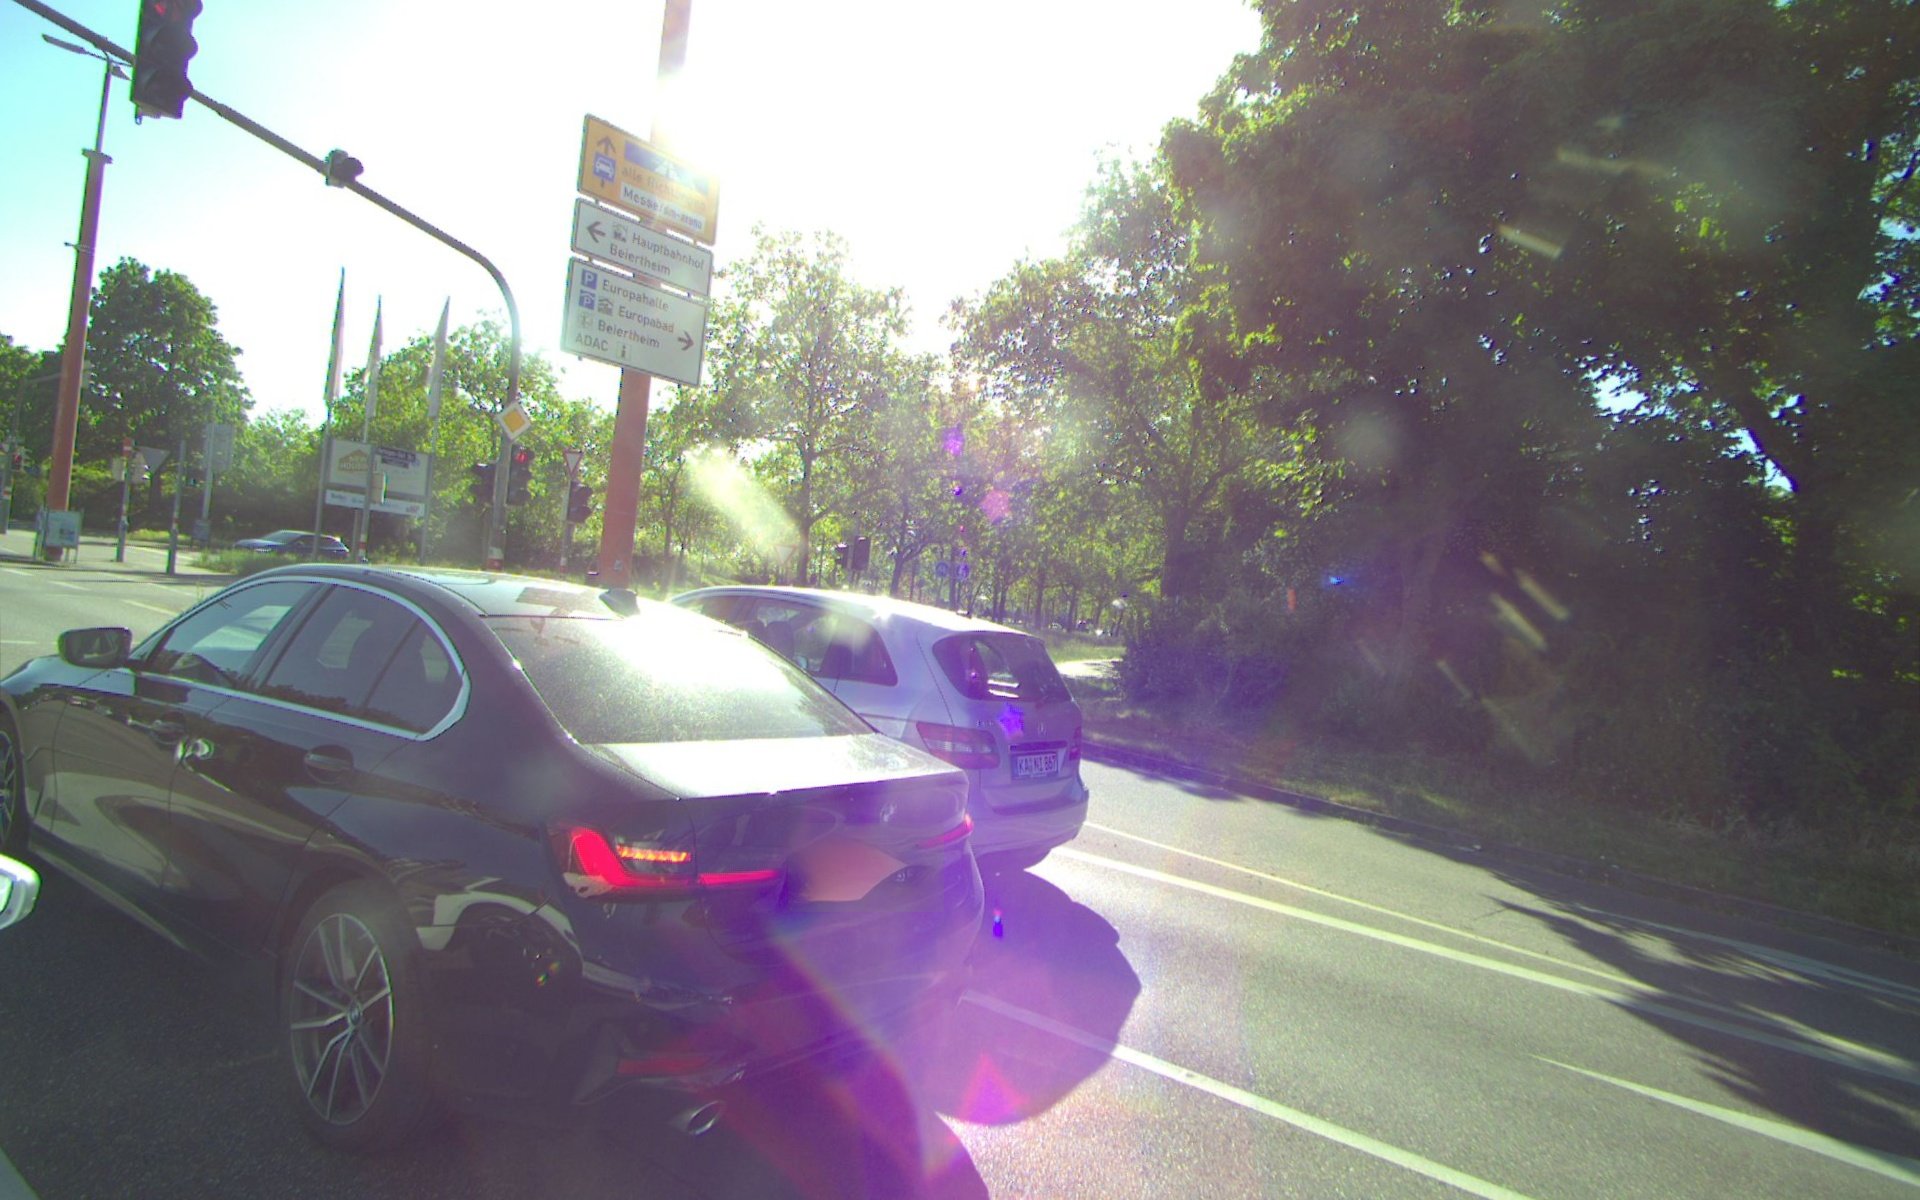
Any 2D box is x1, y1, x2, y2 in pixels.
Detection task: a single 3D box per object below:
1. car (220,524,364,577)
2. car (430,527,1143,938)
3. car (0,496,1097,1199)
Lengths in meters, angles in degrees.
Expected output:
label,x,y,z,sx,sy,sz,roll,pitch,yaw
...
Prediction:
label,x,y,z,sx,sy,sz,roll,pitch,yaw
car,-25.090,-1.816,37.992,1.848,1.445,4.283,7,-1,14
car,-1.283,0.641,6.800,4.403,1.706,1.970,7,-1,32
car,-1.961,0.530,3.892,4.403,1.411,1.996,7,0,32
